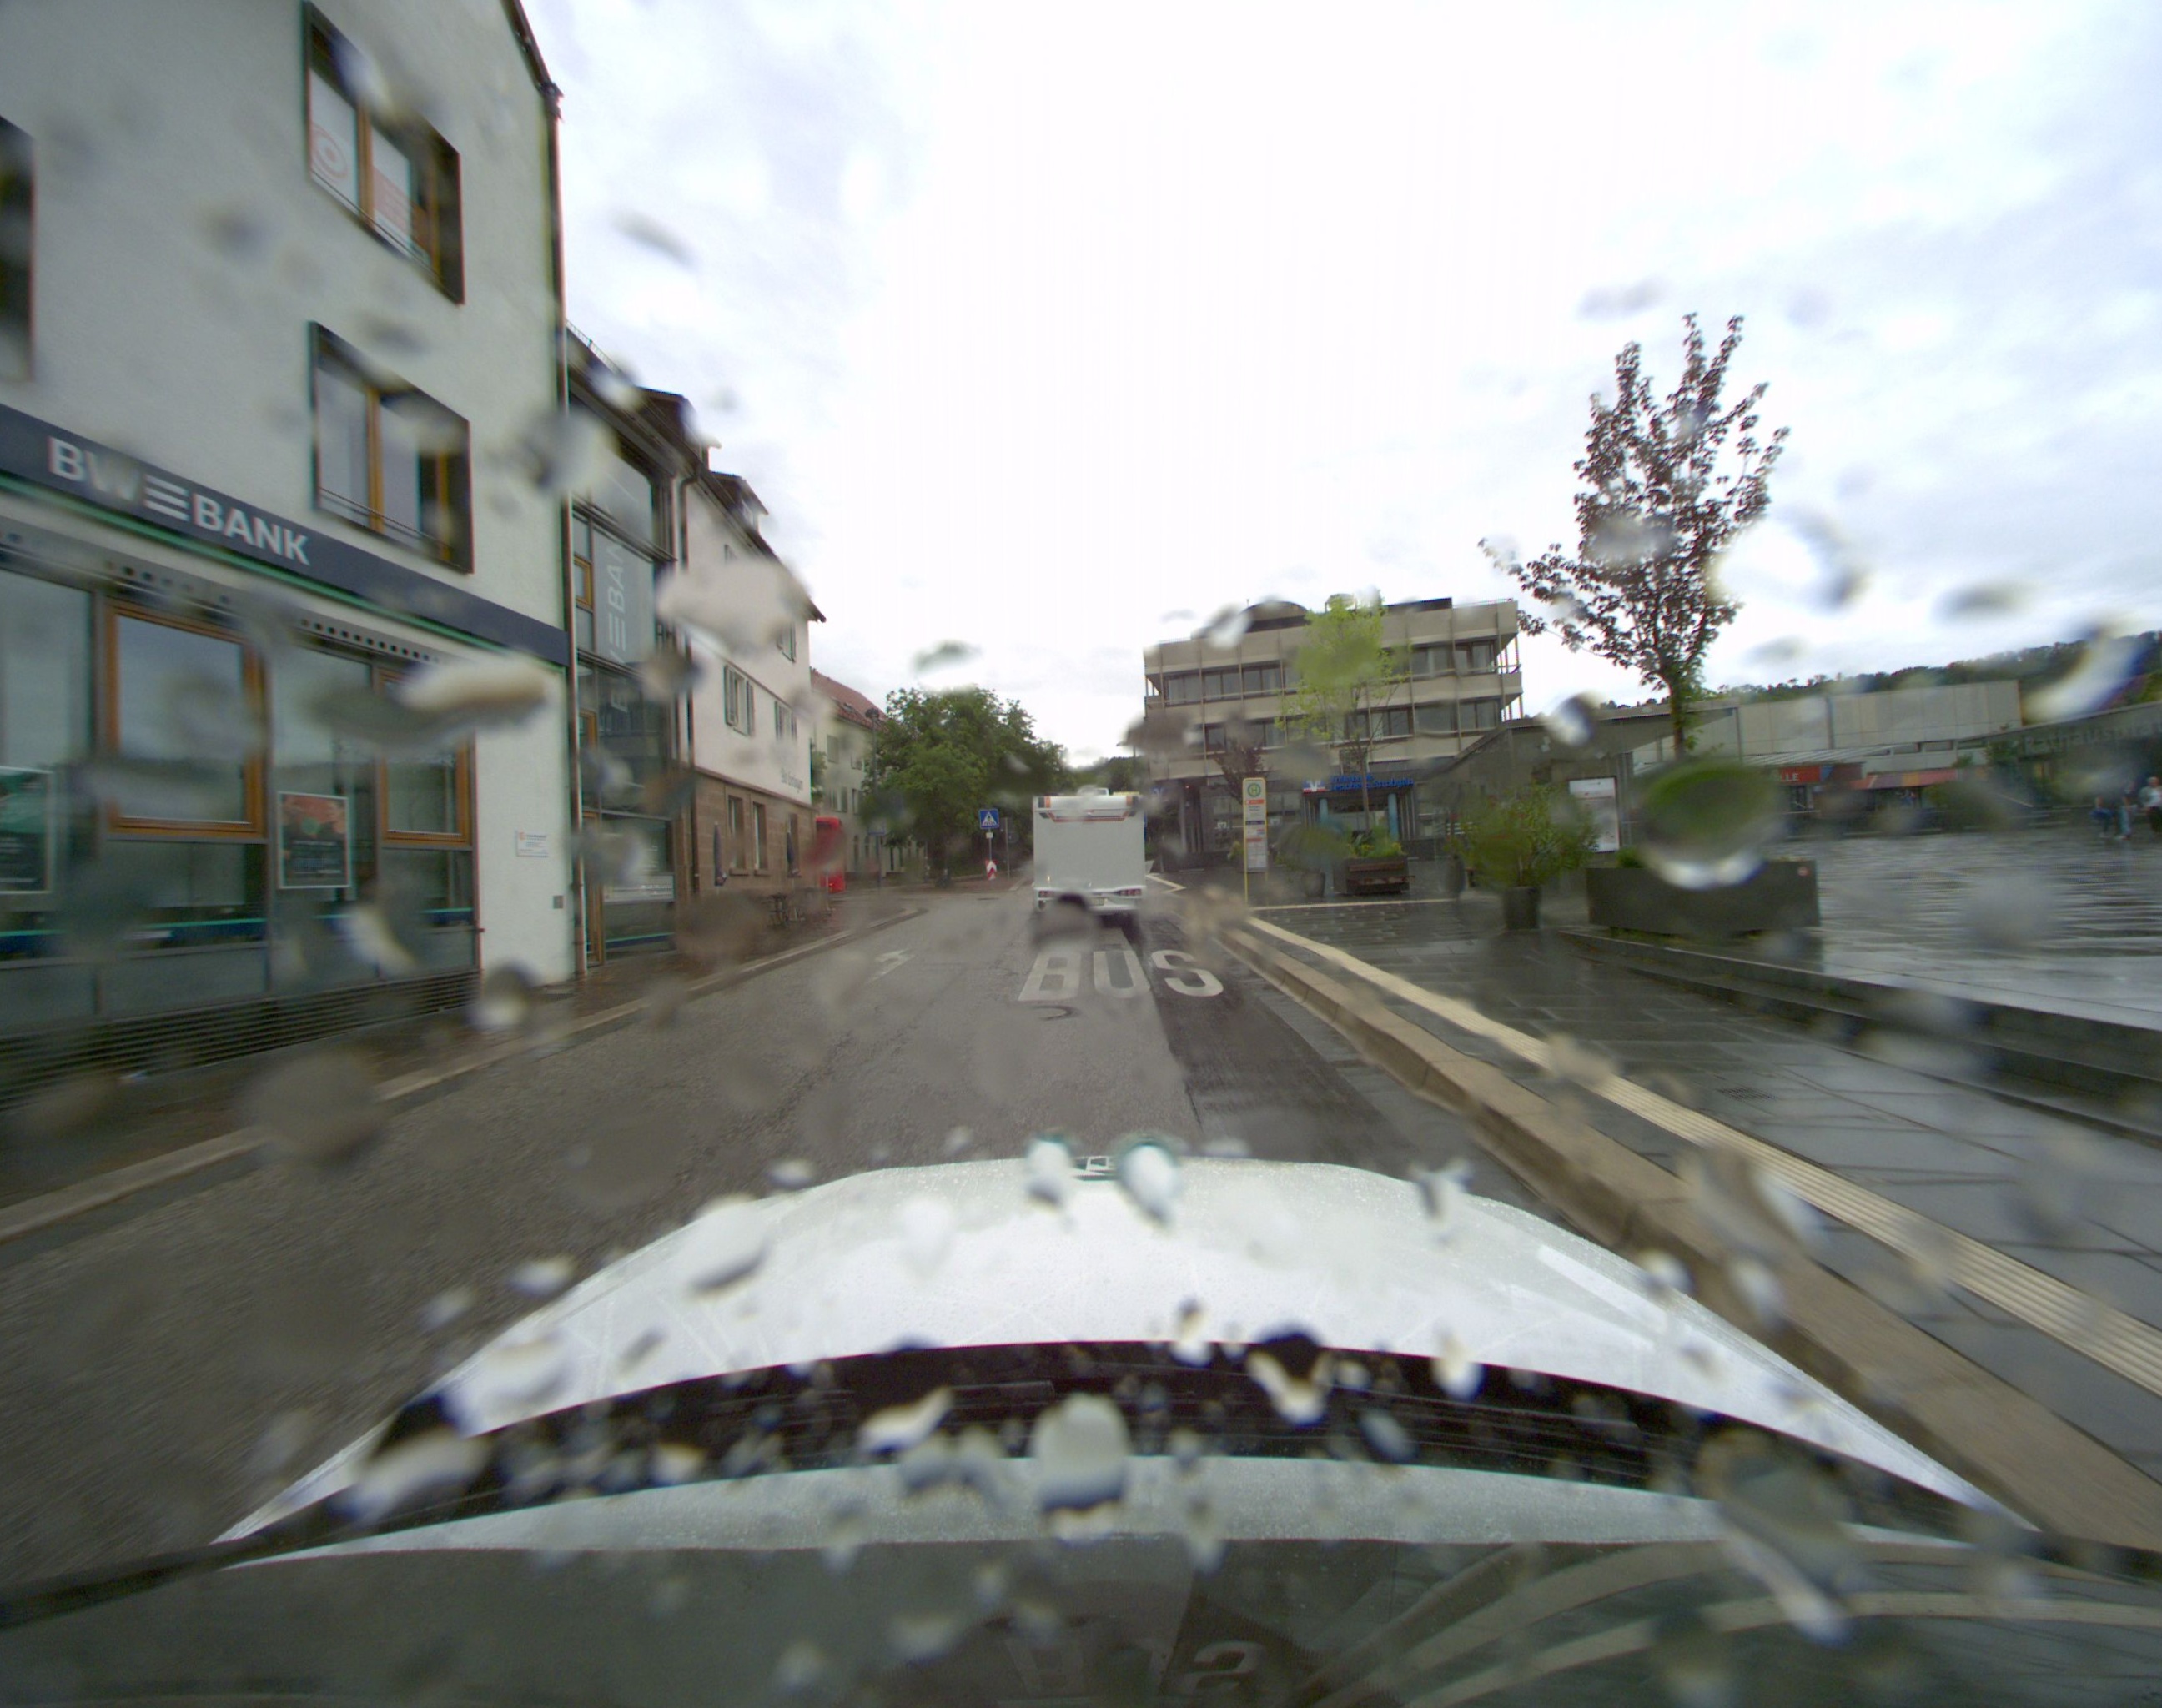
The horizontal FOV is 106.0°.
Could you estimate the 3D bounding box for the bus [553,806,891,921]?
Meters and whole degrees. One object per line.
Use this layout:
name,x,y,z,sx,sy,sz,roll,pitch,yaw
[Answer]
bus,-11.996,0.257,28.421,10.140,3.146,3.015,-4,-1,-17

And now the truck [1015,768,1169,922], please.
truck,0.194,-0.128,18.840,2.798,2.797,6.104,-4,-1,-1

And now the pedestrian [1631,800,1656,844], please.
pedestrian,28.327,-1.613,41.014,0.751,2.147,0.662,-4,-1,20

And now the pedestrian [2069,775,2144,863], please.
pedestrian,29.700,-0.998,23.609,0.933,2.439,0.780,-4,-1,17

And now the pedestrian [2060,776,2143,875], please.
pedestrian,29.107,-0.794,23.253,1.044,2.684,0.836,-4,-1,20
